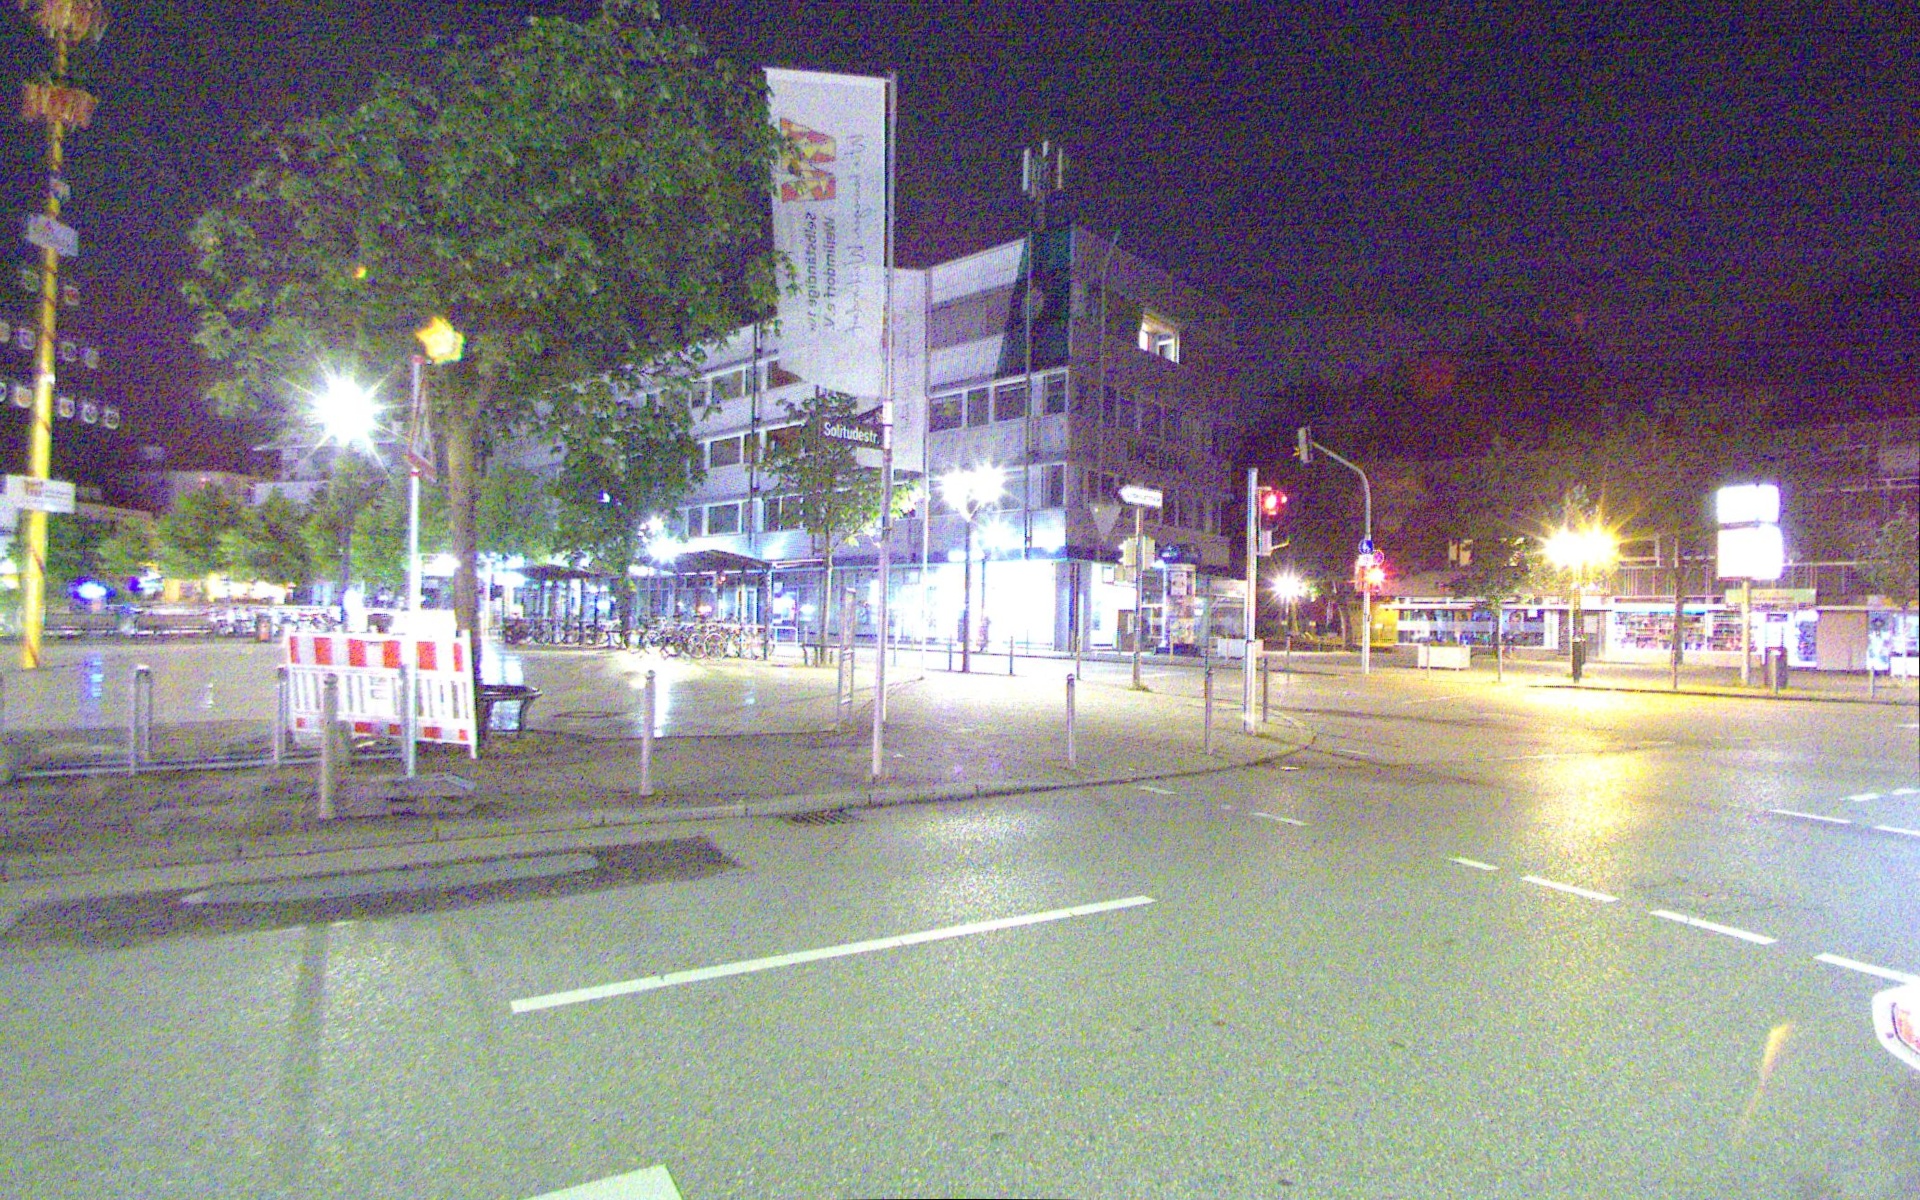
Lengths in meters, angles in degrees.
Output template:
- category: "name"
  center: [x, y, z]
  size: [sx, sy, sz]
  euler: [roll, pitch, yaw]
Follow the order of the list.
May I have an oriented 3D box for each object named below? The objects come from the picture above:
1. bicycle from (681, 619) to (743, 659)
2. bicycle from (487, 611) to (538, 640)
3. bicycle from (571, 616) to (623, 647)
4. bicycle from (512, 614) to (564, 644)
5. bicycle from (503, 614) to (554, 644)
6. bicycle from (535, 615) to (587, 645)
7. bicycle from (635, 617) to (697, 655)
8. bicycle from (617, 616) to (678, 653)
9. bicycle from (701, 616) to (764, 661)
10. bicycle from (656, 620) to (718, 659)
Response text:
- category: "bicycle"
  center: [-6.303, 0.987, 25.578]
  size: [0.440, 0.970, 1.525]
  euler: [2, 0, 43]
- category: "bicycle"
  center: [-15.543, 0.880, 34.887]
  size: [0.473, 0.970, 1.525]
  euler: [2, 0, 44]
- category: "bicycle"
  center: [-11.962, 1.032, 33.116]
  size: [0.473, 0.970, 1.525]
  euler: [2, 0, 44]
- category: "bicycle"
  center: [-14.176, 0.983, 33.742]
  size: [0.473, 0.970, 1.525]
  euler: [2, 0, 44]
- category: "bicycle"
  center: [-14.769, 0.992, 34.364]
  size: [0.473, 0.970, 1.525]
  euler: [2, 0, 44]
- category: "bicycle"
  center: [-13.134, 0.997, 33.122]
  size: [0.473, 0.970, 1.525]
  euler: [2, 0, 44]
- category: "bicycle"
  center: [-7.842, 0.956, 26.827]
  size: [0.473, 0.970, 1.525]
  euler: [2, 0, 44]
- category: "bicycle"
  center: [-8.522, 0.938, 27.427]
  size: [0.473, 0.970, 1.525]
  euler: [2, 0, 44]
- category: "bicycle"
  center: [-5.642, 0.945, 24.929]
  size: [0.440, 1.068, 1.525]
  euler: [2, 0, 43]
- category: "bicycle"
  center: [-7.091, 1.019, 26.137]
  size: [0.473, 0.970, 1.525]
  euler: [2, 0, 44]
